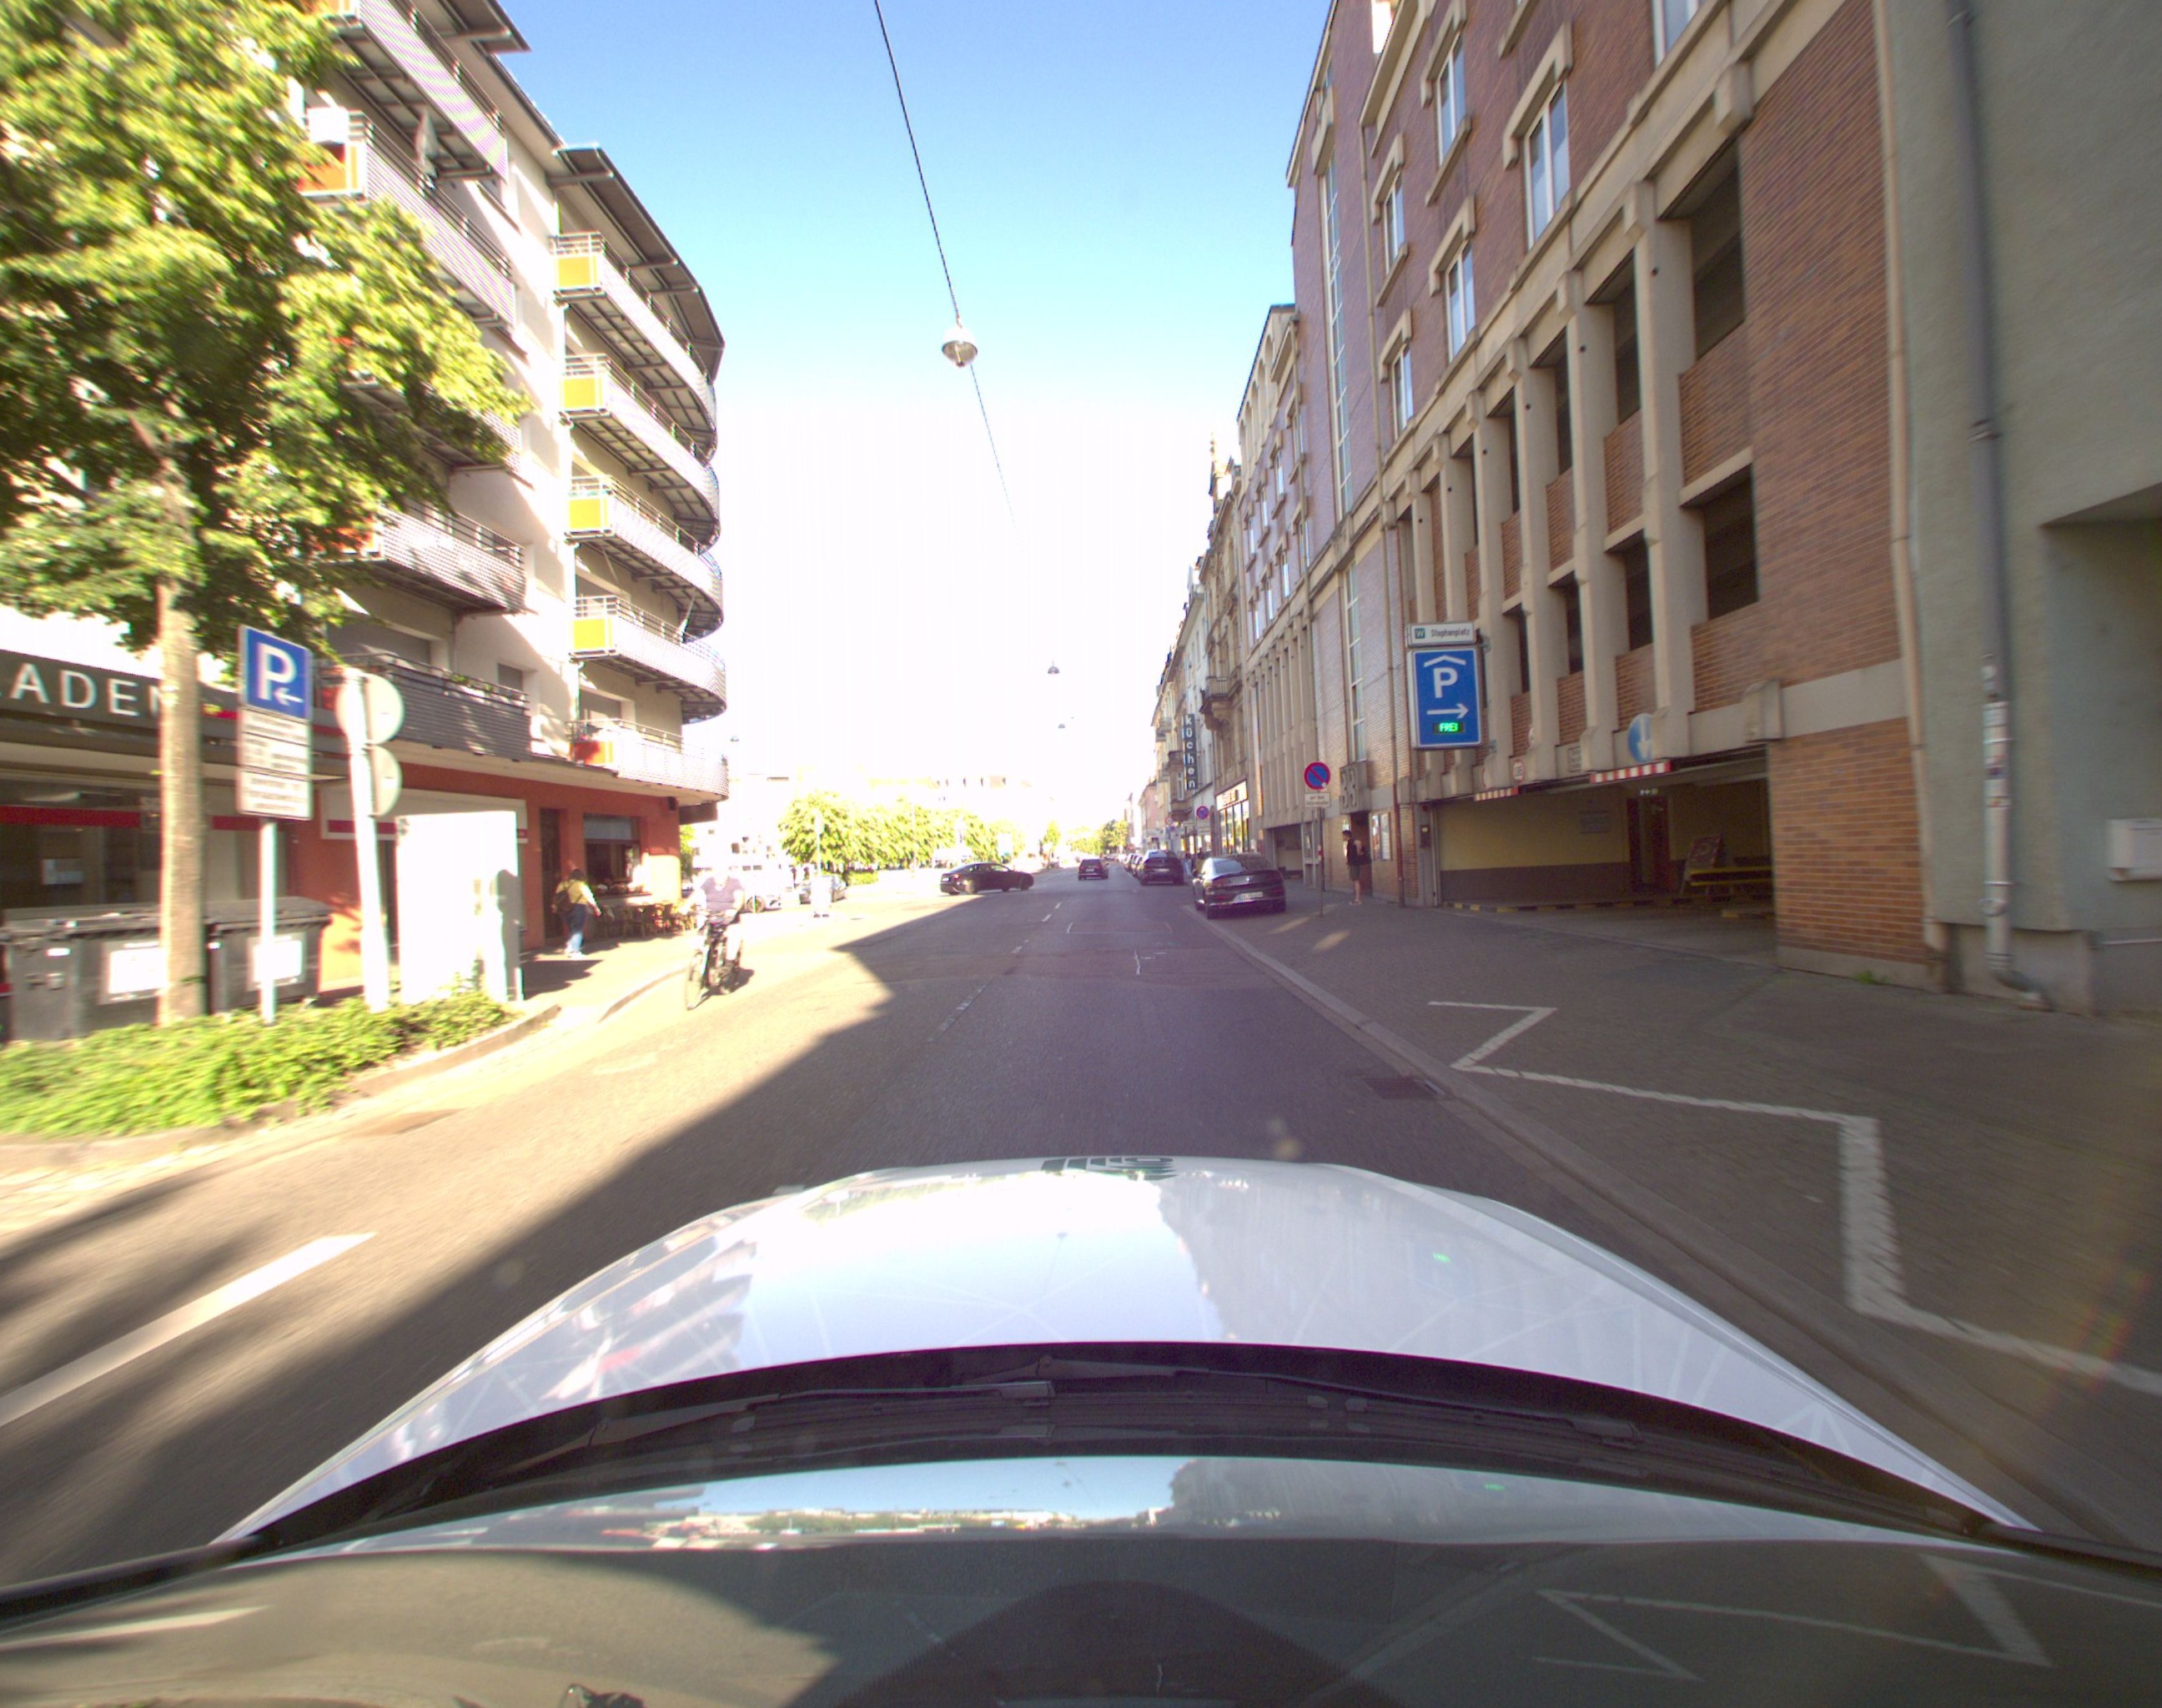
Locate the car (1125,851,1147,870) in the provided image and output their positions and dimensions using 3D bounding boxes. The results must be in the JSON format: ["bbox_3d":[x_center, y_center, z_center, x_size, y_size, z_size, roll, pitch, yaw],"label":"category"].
[{"bbox_3d":[5.054,0.595,75.321,1.710,1.635,4.083,-1,-1,0],"label":"car"}]

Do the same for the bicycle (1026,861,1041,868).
[{"bbox_3d":[-6.751,1.501,115.859,2.006,1.022,0.762,-2,0,-2],"label":"bicycle"}]

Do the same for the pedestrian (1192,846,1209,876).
[{"bbox_3d":[6.827,0.397,46.376,0.797,1.674,0.590,-4,-1,4],"label":"pedestrian"}]

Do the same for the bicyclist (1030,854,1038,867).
[{"bbox_3d":[-6.679,0.913,115.870,1.143,1.686,0.819,-2,0,-2],"label":"bicyclist"}]

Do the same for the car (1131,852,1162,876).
[{"bbox_3d":[4.521,0.673,56.668,1.832,1.546,4.229,-1,0,1],"label":"car"}]

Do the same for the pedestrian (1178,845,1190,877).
[{"bbox_3d":[5.863,0.410,46.408,0.617,1.766,0.519,-3,0,4],"label":"pedestrian"}]

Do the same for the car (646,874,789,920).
[{"bbox_3d":[-14.882,1.747,33.698,5.118,1.423,1.987,-4,0,-19],"label":"car"}]

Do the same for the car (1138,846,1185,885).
[{"bbox_3d":[3.824,0.496,39.493,1.966,1.725,4.826,-1,0,2],"label":"car"}]

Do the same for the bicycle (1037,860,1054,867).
[{"bbox_3d":[-5.130,1.413,117.861,2.233,0.883,0.925,-2,0,5],"label":"bicycle"}]

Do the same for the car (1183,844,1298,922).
[{"bbox_3d":[3.768,0.629,20.172,1.910,1.478,4.967,-7,0,2],"label":"car"}]

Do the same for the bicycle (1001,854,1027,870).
[{"bbox_3d":[-8.645,1.039,104.704,3.101,2.013,0.911,-2,0,10],"label":"bicycle"}]

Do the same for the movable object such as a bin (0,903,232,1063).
[{"bbox_3d":[-9.694,1.228,8.104,1.038,1.345,1.314,-3,0,0],"label":"movable object such as a bin"}]

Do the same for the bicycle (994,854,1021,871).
[{"bbox_3d":[-9.176,1.032,101.721,3.101,2.013,0.911,-2,0,10],"label":"bicycle"}]

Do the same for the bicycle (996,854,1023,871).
[{"bbox_3d":[-9.027,1.029,102.675,3.101,2.013,0.911,-2,0,10],"label":"bicycle"}]

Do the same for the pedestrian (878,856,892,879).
[{"bbox_3d":[-18.117,1.236,75.386,0.725,2.108,0.973,-2,0,24],"label":"pedestrian"}]

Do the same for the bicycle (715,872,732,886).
[{"bbox_3d":[-42.460,2.927,96.724,0.962,1.503,2.685,-2,0,-3],"label":"bicycle"}]

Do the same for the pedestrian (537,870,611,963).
[{"bbox_3d":[-9.665,1.162,15.567,0.662,1.659,1.037,-3,0,1],"label":"pedestrian"}]

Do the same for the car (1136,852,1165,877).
[{"bbox_3d":[4.358,0.649,51.329,1.602,1.449,3.832,-1,0,2],"label":"car"}]

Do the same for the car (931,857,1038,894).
[{"bbox_3d":[-4.436,0.958,37.784,4.515,1.480,1.980,-2,0,-36],"label":"car"}]

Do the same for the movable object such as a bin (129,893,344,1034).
[{"bbox_3d":[-9.680,1.210,9.416,1.038,1.404,1.314,-3,0,0],"label":"movable object such as a bin"}]

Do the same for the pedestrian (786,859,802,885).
[{"bbox_3d":[-24.092,1.519,68.374,0.725,2.108,0.973,-2,0,24],"label":"pedestrian"}]

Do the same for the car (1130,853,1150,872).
[{"bbox_3d":[5.069,0.682,69.813,1.607,1.546,2.857,-1,0,3],"label":"car"}]

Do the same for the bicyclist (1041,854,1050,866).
[{"bbox_3d":[-5.143,0.908,117.877,1.140,1.686,0.916,-2,0,5],"label":"bicyclist"}]

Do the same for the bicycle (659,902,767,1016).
[{"bbox_3d":[-4.525,1.237,10.154,0.705,1.146,1.960,-3,0,-10],"label":"bicycle"}]

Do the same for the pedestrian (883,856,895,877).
[{"bbox_3d":[-19.733,1.297,83.763,0.725,2.108,0.973,-2,0,24],"label":"pedestrian"}]

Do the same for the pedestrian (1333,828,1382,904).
[{"bbox_3d":[6.298,0.274,18.579,0.689,1.635,0.889,-5,0,1],"label":"pedestrian"}]

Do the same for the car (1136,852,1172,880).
[{"bbox_3d":[4.126,0.648,46.466,1.832,1.487,4.186,-1,0,2],"label":"car"}]

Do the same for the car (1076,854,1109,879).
[{"bbox_3d":[0.826,0.818,54.803,1.926,1.487,4.275,-2,0,4],"label":"car"}]

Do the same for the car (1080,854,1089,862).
[{"bbox_3d":[0.885,0.890,191.081,1.985,1.771,4.004,-2,1,3],"label":"car"}]

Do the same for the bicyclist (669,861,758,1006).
[{"bbox_3d":[-4.527,0.933,10.103,0.697,1.653,1.032,-3,0,-10],"label":"bicyclist"}]

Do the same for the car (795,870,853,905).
[{"bbox_3d":[-13.083,1.692,41.771,1.745,1.422,4.532,-3,1,-4],"label":"car"}]

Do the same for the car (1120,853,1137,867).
[{"bbox_3d":[5.422,0.690,92.967,1.785,1.460,3.870,-1,-1,2],"label":"car"}]
